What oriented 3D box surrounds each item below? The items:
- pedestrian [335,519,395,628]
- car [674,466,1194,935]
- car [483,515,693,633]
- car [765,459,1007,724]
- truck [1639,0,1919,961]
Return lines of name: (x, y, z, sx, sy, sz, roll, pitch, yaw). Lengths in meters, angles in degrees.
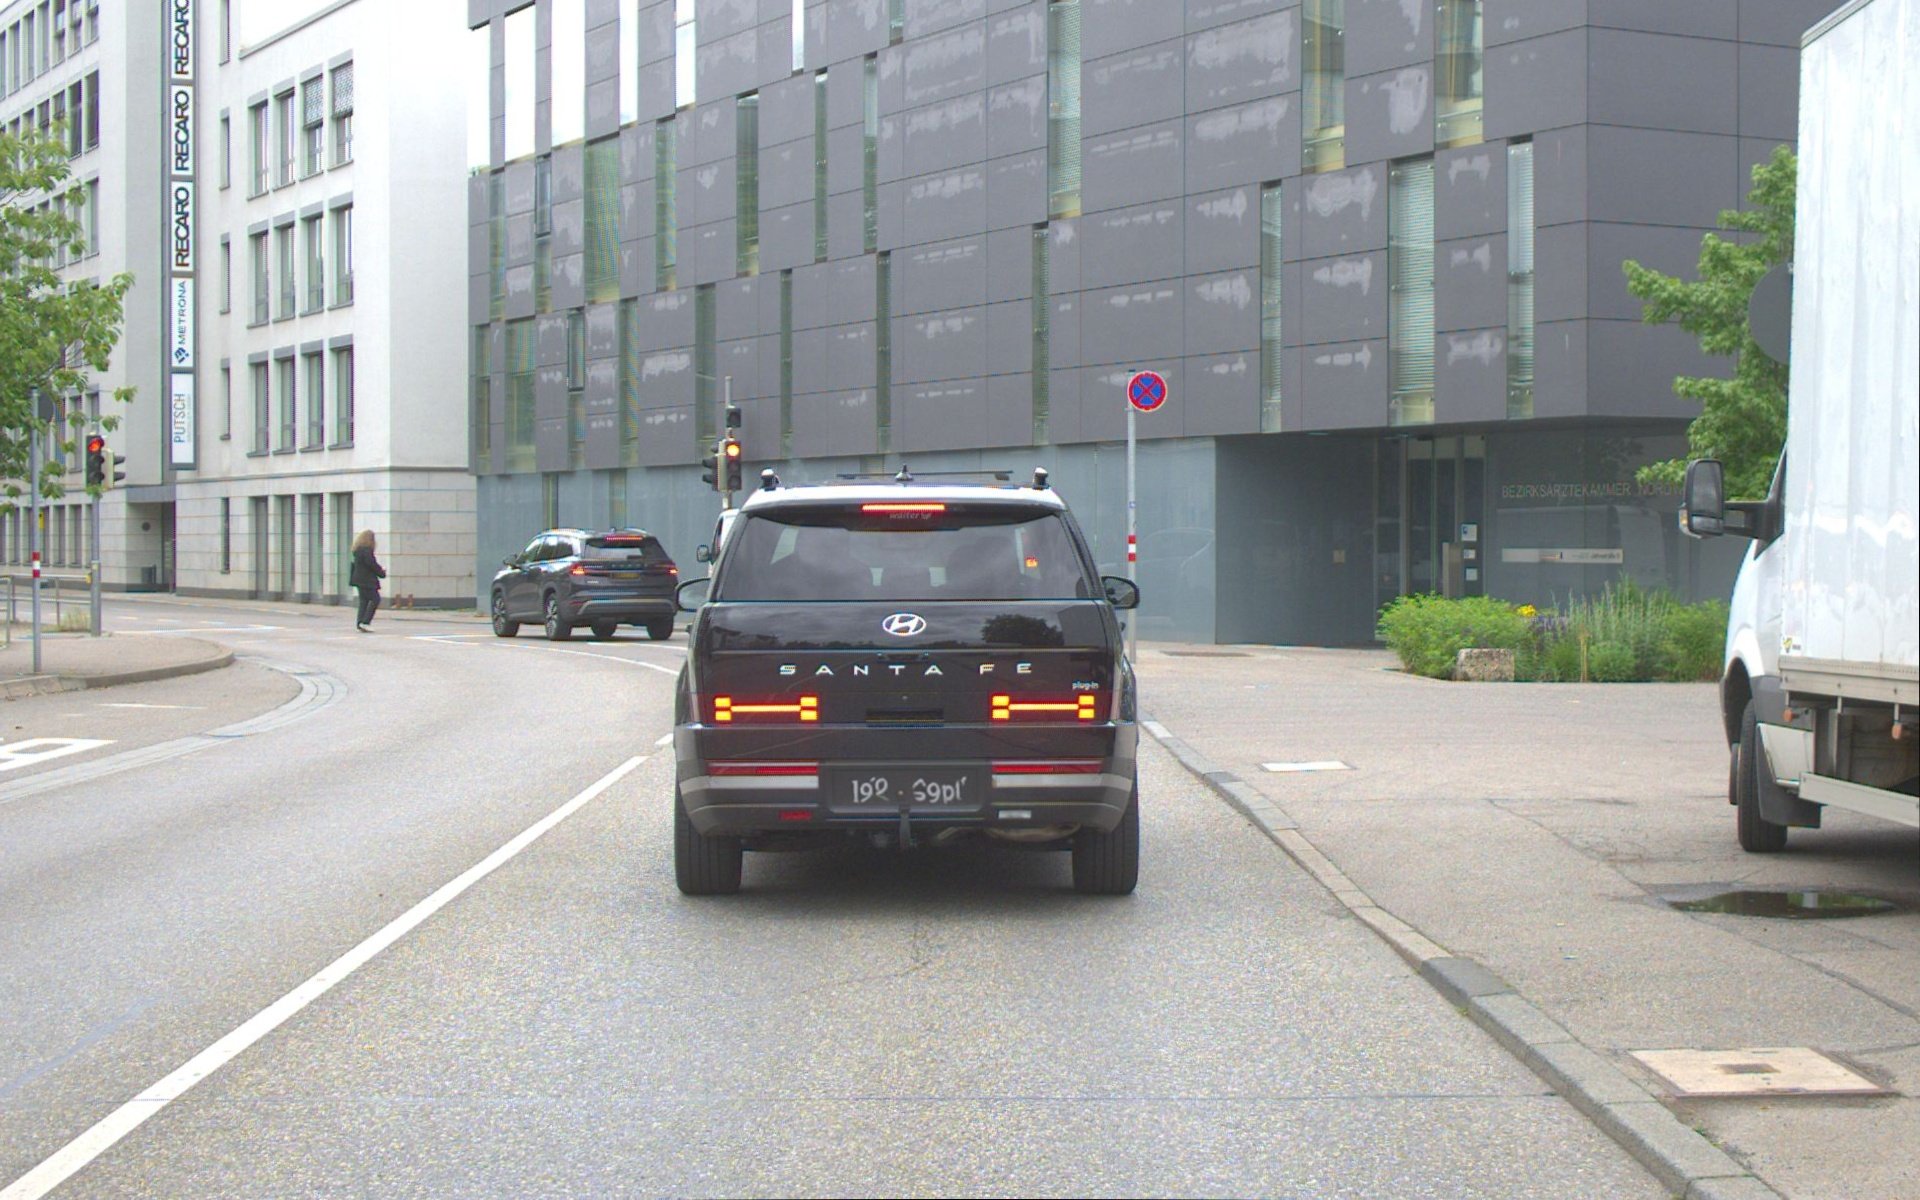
pedestrian: (-9.831, -0.440, 56.781, 0.938, 1.794, 0.591, 0, 1, -12)
car: (-0.217, 0.343, 15.053, 1.915, 1.719, 4.171, 2, 1, -3)
car: (-5.665, -0.390, 51.911, 1.847, 1.671, 4.376, -1, 1, -25)
car: (-0.599, -0.119, 28.633, 1.855, 2.026, 4.437, 0, 1, -1)
truck: (4.481, -0.578, 12.417, 2.573, 3.513, 7.810, 0, 1, 1)
